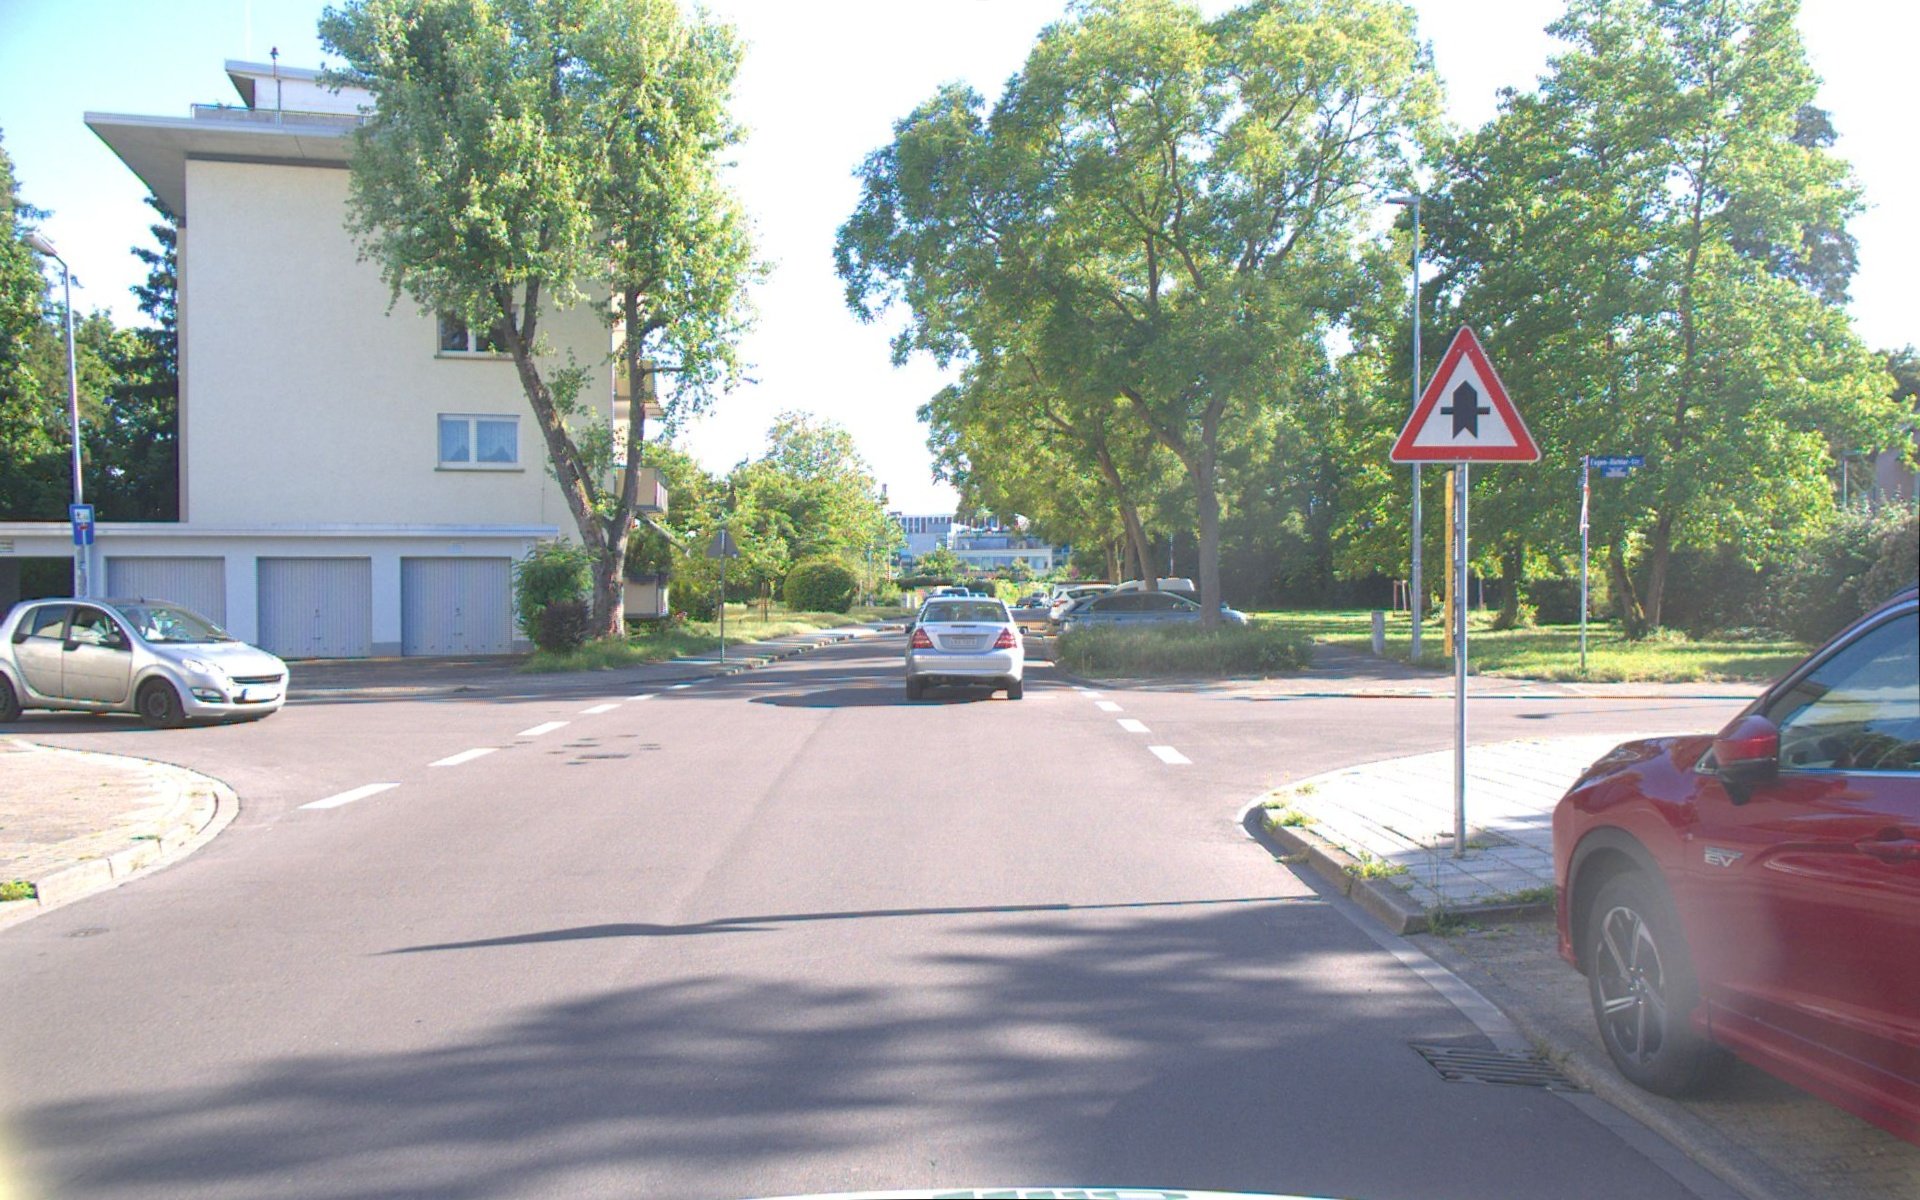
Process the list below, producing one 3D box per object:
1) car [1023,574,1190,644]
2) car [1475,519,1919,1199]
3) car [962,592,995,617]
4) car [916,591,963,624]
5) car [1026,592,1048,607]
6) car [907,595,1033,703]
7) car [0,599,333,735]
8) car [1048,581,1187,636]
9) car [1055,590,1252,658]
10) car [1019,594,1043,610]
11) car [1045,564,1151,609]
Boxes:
[{"bbox_3d":[4.449,0.265,50.633,4.789,1.957,1.998,-2,0,-5],"label":"car"},{"bbox_3d":[3.072,0.614,4.190,1.740,1.709,4.641,-3,0,-4],"label":"car"},{"bbox_3d":[1.258,0.276,109.059,1.713,1.547,4.196,-2,0,7],"label":"car"},{"bbox_3d":[-1.018,0.372,83.926,1.873,1.516,3.839,-3,0,5],"label":"car"},{"bbox_3d":[7.839,-0.074,167.200,1.853,1.529,3.659,-1,0,8],"label":"car"},{"bbox_3d":[0.096,0.672,24.054,1.698,1.459,3.437,0,0,-2],"label":"car"},{"bbox_3d":[-9.821,0.742,19.983,3.847,1.486,1.998,0,0,21],"label":"car"},{"bbox_3d":[5.557,0.300,58.734,4.782,1.753,2.001,-2,0,3],"label":"car"},{"bbox_3d":[4.759,0.568,41.209,4.684,1.576,2.011,-1,0,0],"label":"car"},{"bbox_3d":[6.826,0.199,158.962,1.853,1.529,3.659,-1,0,8],"label":"car"},{"bbox_3d":[6.773,-0.652,81.306,5.107,2.095,2.001,-1,0,4],"label":"car"}]
